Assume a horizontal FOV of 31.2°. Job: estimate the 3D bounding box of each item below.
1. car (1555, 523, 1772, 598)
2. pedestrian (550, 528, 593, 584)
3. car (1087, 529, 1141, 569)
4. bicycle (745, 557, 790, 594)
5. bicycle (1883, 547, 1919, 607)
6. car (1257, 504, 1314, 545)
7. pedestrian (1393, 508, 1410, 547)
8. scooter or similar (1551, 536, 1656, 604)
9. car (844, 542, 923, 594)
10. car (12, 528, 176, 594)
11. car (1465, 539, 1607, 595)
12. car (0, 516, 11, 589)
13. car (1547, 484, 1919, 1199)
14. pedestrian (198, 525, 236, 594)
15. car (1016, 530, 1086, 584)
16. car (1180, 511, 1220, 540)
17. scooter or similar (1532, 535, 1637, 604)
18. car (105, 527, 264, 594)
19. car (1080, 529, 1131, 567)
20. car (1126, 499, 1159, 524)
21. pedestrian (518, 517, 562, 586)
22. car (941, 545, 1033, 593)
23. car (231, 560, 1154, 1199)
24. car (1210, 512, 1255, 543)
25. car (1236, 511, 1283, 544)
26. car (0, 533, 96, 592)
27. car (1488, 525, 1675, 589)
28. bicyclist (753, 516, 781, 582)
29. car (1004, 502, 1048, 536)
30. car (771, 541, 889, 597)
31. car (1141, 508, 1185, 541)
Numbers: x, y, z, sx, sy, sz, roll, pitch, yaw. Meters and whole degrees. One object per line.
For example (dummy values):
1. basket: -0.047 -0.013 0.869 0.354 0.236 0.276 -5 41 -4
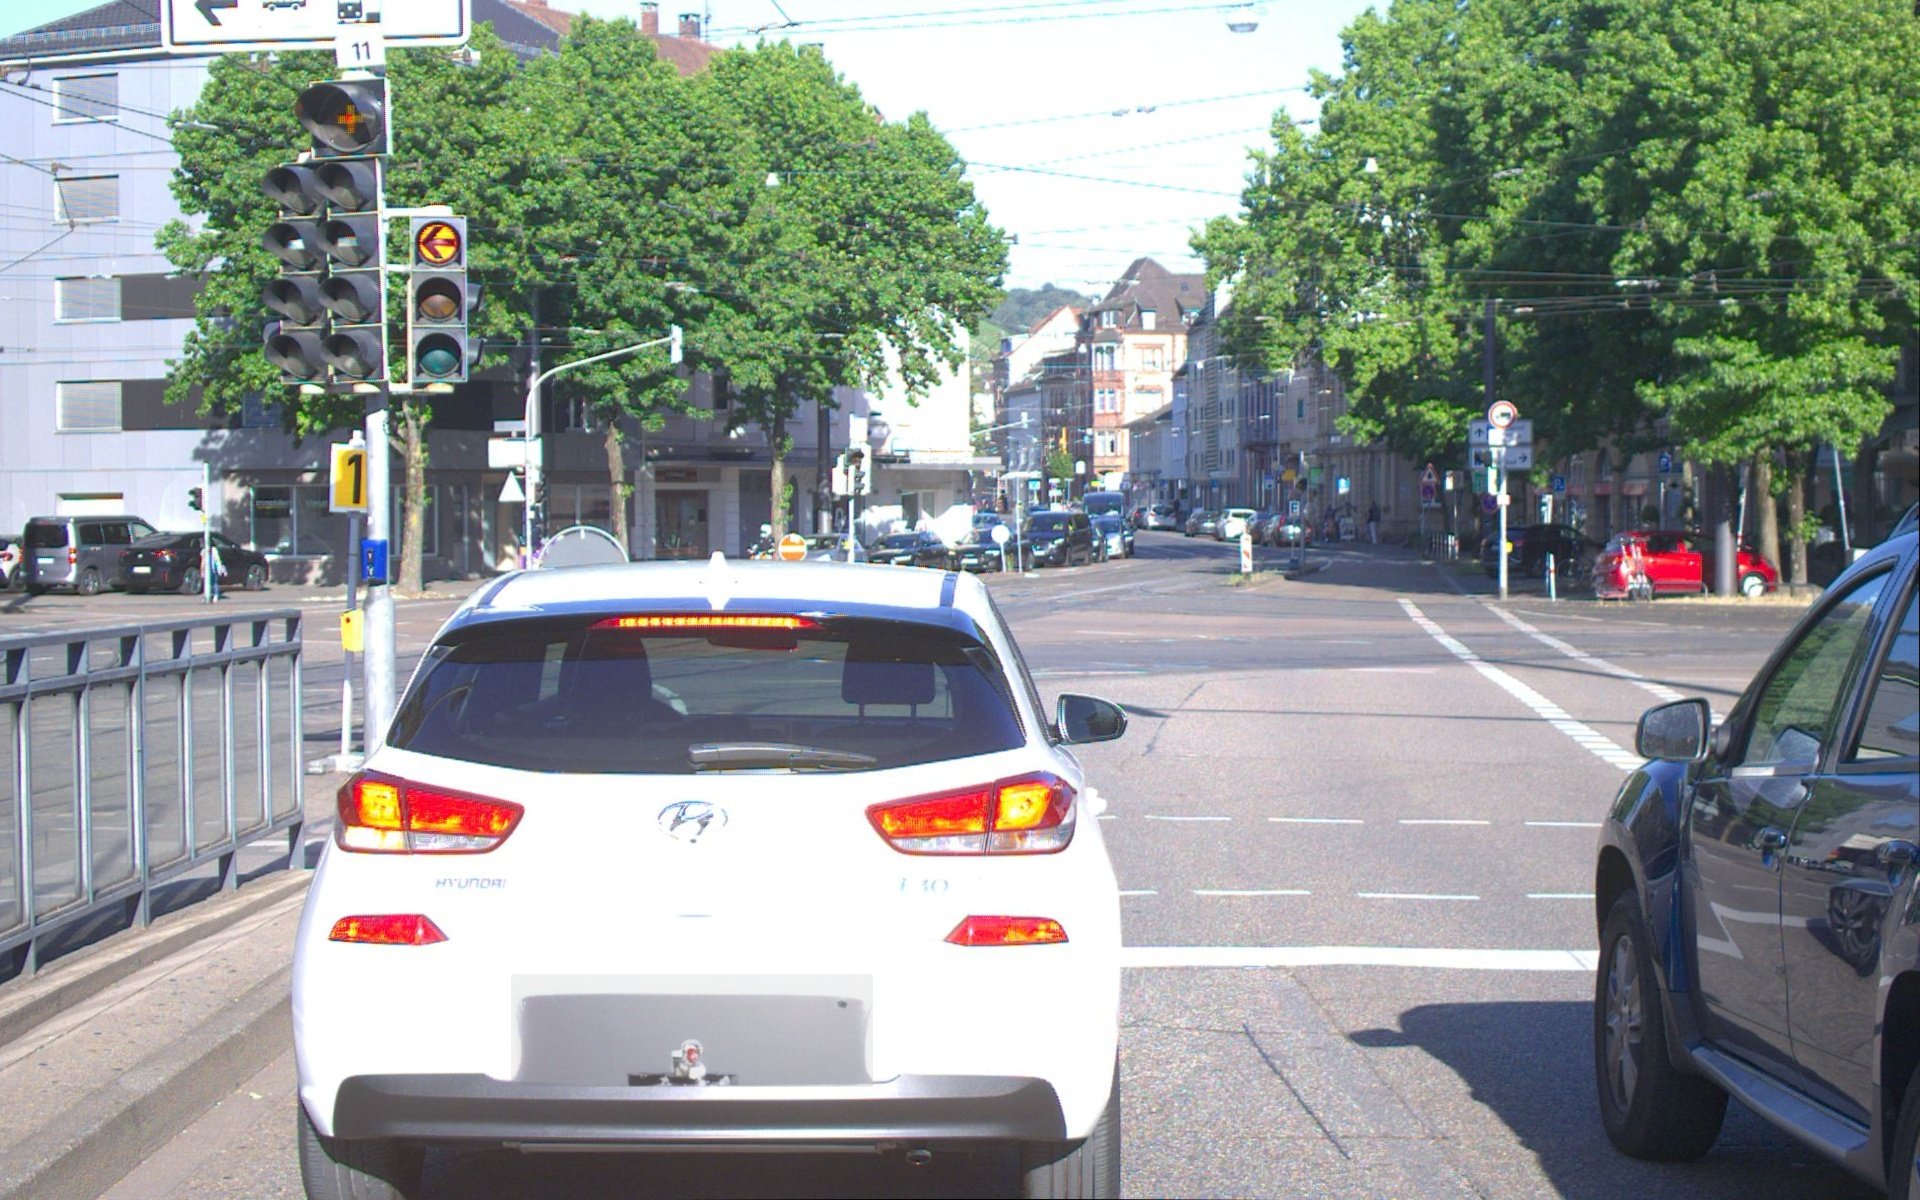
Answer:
1. car: 14.442 -0.821 70.695 3.986 1.505 1.801 0 1 -8
2. pedestrian: -10.215 -1.160 90.408 0.803 1.479 0.861 0 1 26
3. car: 5.884 -1.968 131.577 1.794 1.505 4.000 0 1 -2
4. bicycle: -5.107 -0.661 91.144 0.468 0.953 1.765 0 1 23
5. bicycle: 17.871 -0.437 64.735 0.609 1.104 1.800 0 1 4
6. car: 14.487 -3.363 153.167 2.105 1.770 4.342 0 1 -1
7. pedestrian: 18.602 -3.046 144.697 0.648 1.645 0.650 1 0 10
8. scooter or similar: 12.235 -0.580 65.392 1.949 1.276 0.552 1 1 41
9. car: -2.238 -0.948 101.498 1.794 1.505 3.999 0 0 7
10. car: -21.979 -1.006 87.404 1.797 1.643 4.004 1 1 29
11. car: 15.997 -0.926 95.390 3.989 1.505 1.799 -1 1 -42
12. car: -26.868 -1.238 90.331 1.796 1.949 3.996 0 1 18
13. car: 2.466 0.605 6.924 1.800 1.632 4.045 0 1 -1
14. pedestrian: -17.861 -0.969 82.650 0.649 1.655 0.649 0 1 21
15. car: 3.113 -1.471 116.972 1.795 1.820 3.998 0 1 10
16. car: 12.916 -4.002 185.096 1.794 1.517 4.000 0 1 -1
17. scooter or similar: 11.774 -0.585 64.843 1.949 1.276 0.552 1 1 41
18. car: -19.518 -1.004 86.690 1.923 1.643 4.176 0 1 20
19. car: 5.875 -2.109 139.563 1.794 1.505 4.000 0 1 -2
20. car: 11.414 -5.551 215.570 1.794 1.505 4.000 0 1 -1
21. pedestrian: -10.834 -1.245 88.628 0.837 1.765 0.781 0 1 25
22. car: 0.883 -0.994 109.549 1.796 1.505 3.996 0 0 19
23. car: -0.563 0.642 8.786 1.808 1.447 4.000 1 1 -1
24. car: 13.149 -3.493 165.862 1.794 1.505 4.000 0 1 -1
25. car: 13.879 -3.356 159.700 1.794 1.505 4.000 0 1 -1
26. car: -24.360 -0.995 89.427 1.796 1.505 4.006 0 1 18
27. car: 14.662 -1.025 81.178 3.986 1.505 1.800 0 1 -6
28. bicyclist: -5.106 -1.353 91.135 0.468 1.739 0.716 0 1 23
29. car: 2.960 -3.649 154.475 1.794 1.505 4.000 0 1 -2
30. car: -3.596 -0.857 95.511 1.726 1.505 3.871 0 0 25
31. car: 12.409 -4.613 210.113 2.327 2.007 4.977 0 1 -1
